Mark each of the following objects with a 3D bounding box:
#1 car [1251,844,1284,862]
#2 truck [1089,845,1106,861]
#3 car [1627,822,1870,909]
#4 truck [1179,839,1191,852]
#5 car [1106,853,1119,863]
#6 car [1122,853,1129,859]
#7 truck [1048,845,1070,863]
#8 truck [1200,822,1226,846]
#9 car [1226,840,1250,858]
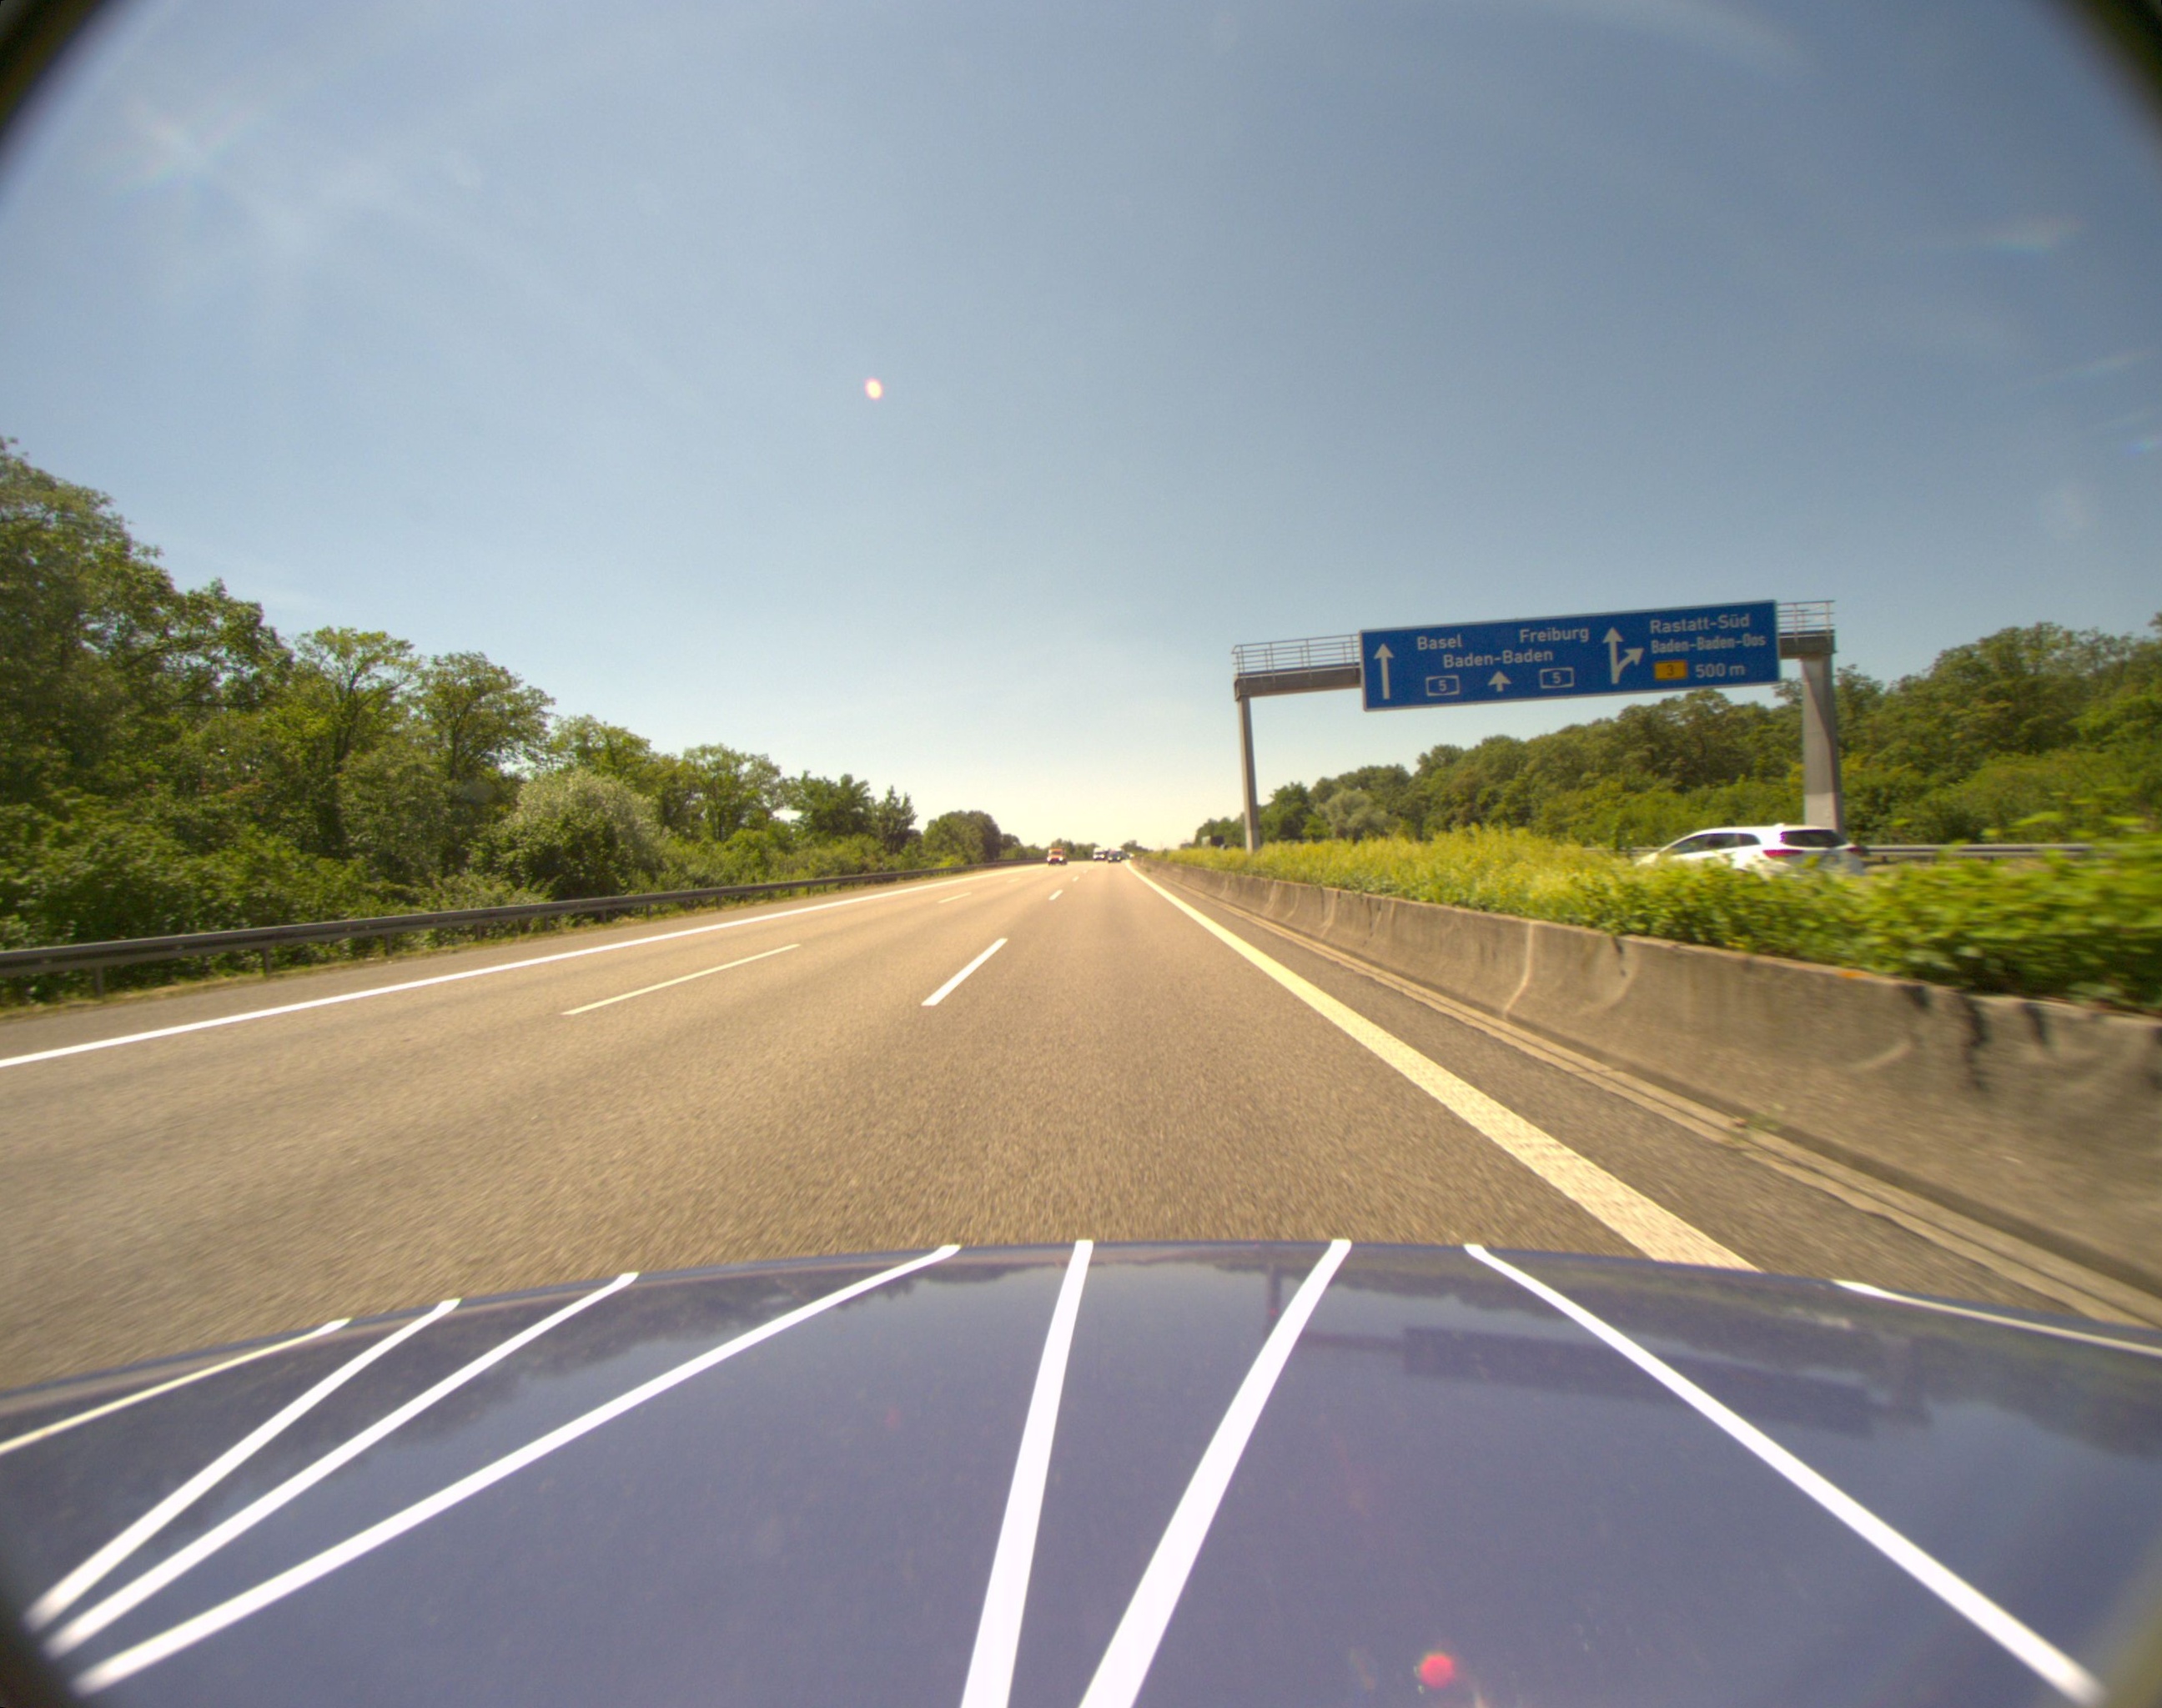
[{"bbox_3d":[15.073,-0.094,61.665,1.671,1.348,3.999,-2,0,0],"label":"car"},{"bbox_3d":[3.274,-0.213,152.017,2.858,3.163,10.713,-2,0,3],"label":"truck"},{"bbox_3d":[13.740,0.192,16.002,1.639,1.565,4.000,-2,1,1],"label":"car"},{"bbox_3d":[30.811,-2.594,226.253,2.661,3.842,9.034,-2,0,3],"label":"truck"},{"bbox_3d":[4.530,0.540,109.510,1.800,1.390,4.833,-2,0,2],"label":"car"},{"bbox_3d":[13.040,0.671,222.695,1.879,1.630,4.000,-2,1,2],"label":"car"},{"bbox_3d":[-3.112,-0.063,110.502,2.436,2.426,10.010,-2,1,3],"label":"truck"},{"bbox_3d":[24.667,-3.641,142.890,3.185,4.206,14.498,-2,0,3],"label":"truck"},{"bbox_3d":[18.446,-0.557,89.626,1.998,2.002,4.000,-2,0,1],"label":"car"}]
